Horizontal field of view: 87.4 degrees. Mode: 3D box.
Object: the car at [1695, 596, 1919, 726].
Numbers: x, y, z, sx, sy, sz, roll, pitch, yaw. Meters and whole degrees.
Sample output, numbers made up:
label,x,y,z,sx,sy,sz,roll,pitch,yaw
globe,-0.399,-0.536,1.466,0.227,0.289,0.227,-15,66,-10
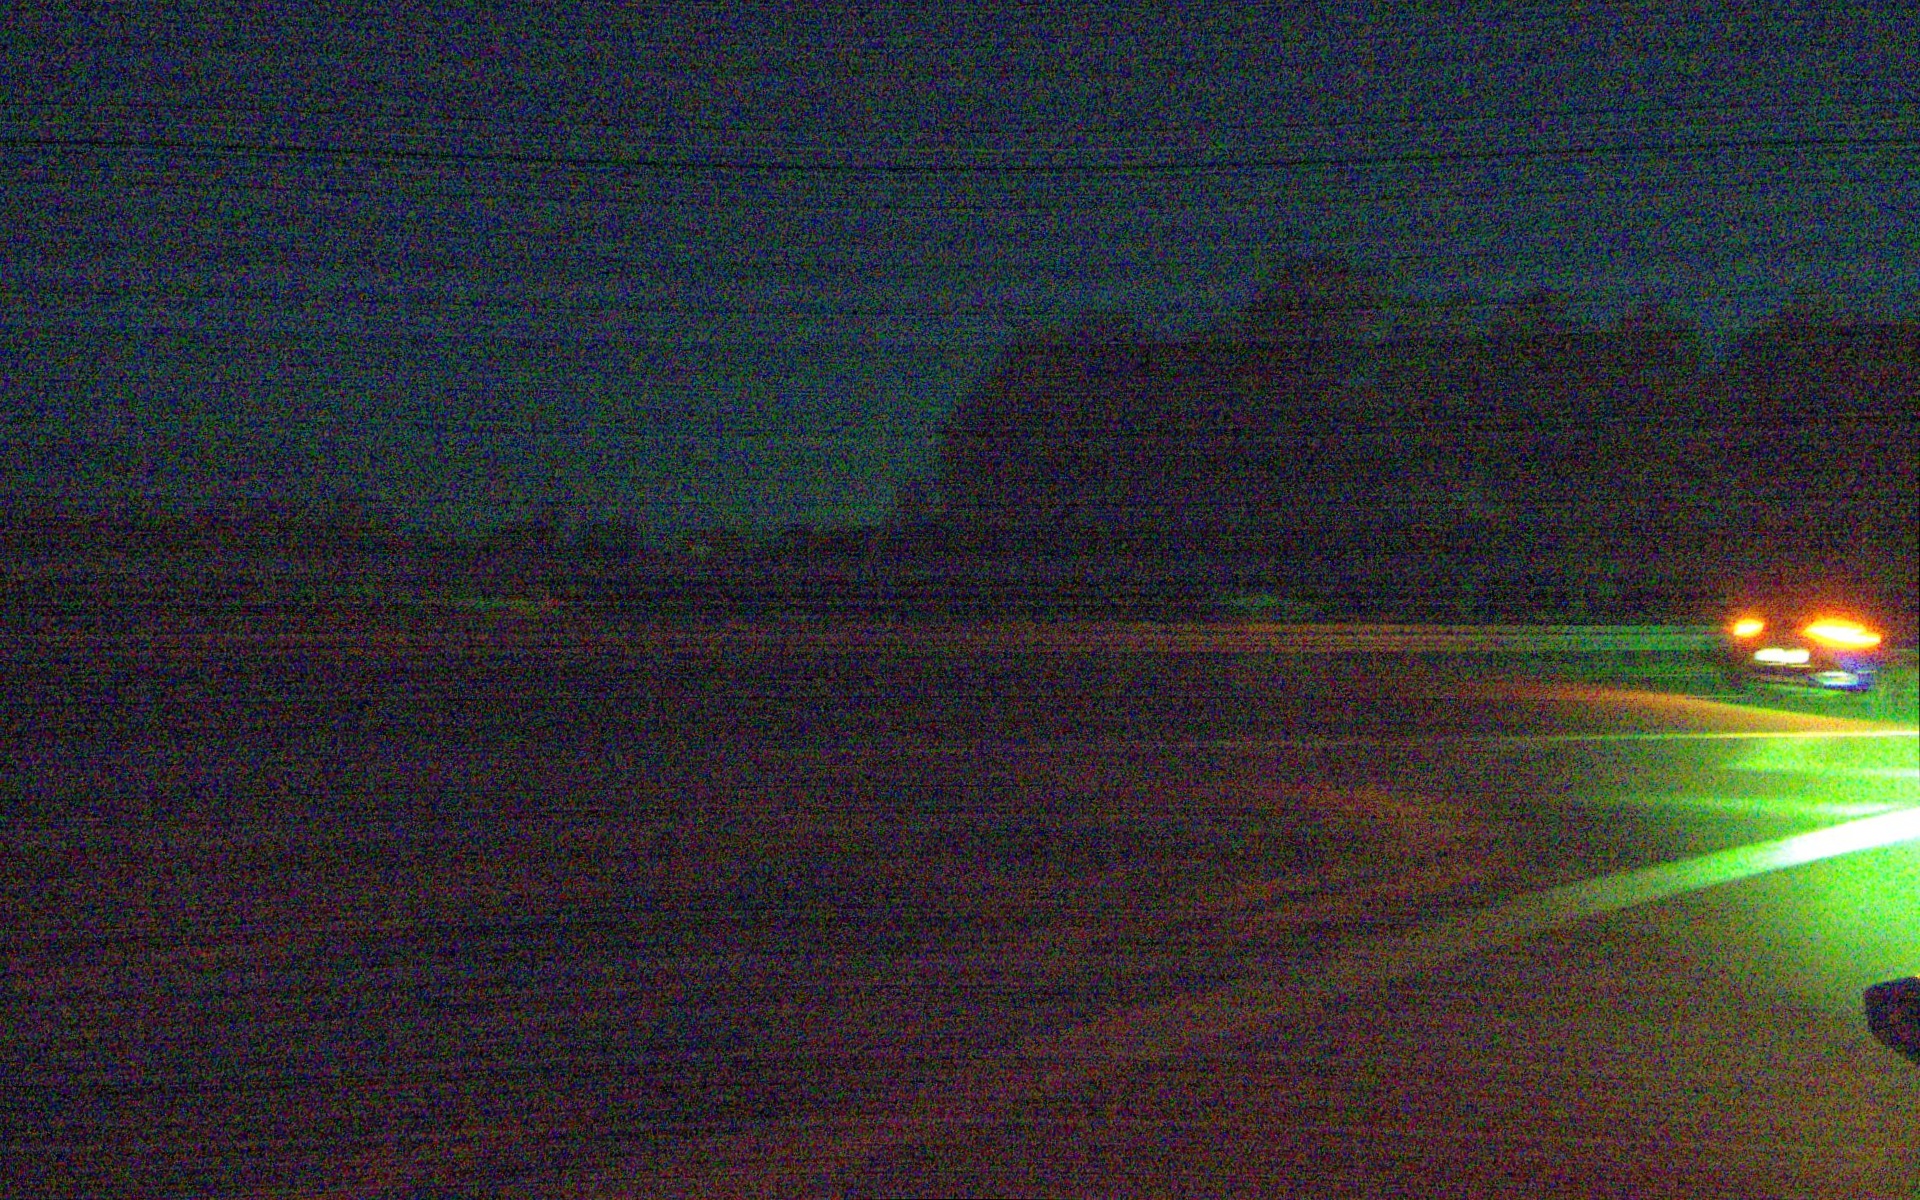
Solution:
label,x,y,z,sx,sy,sz,roll,pitch,yaw
car,13.261,0.815,14.313,4.563,1.630,1.941,1,1,-13
